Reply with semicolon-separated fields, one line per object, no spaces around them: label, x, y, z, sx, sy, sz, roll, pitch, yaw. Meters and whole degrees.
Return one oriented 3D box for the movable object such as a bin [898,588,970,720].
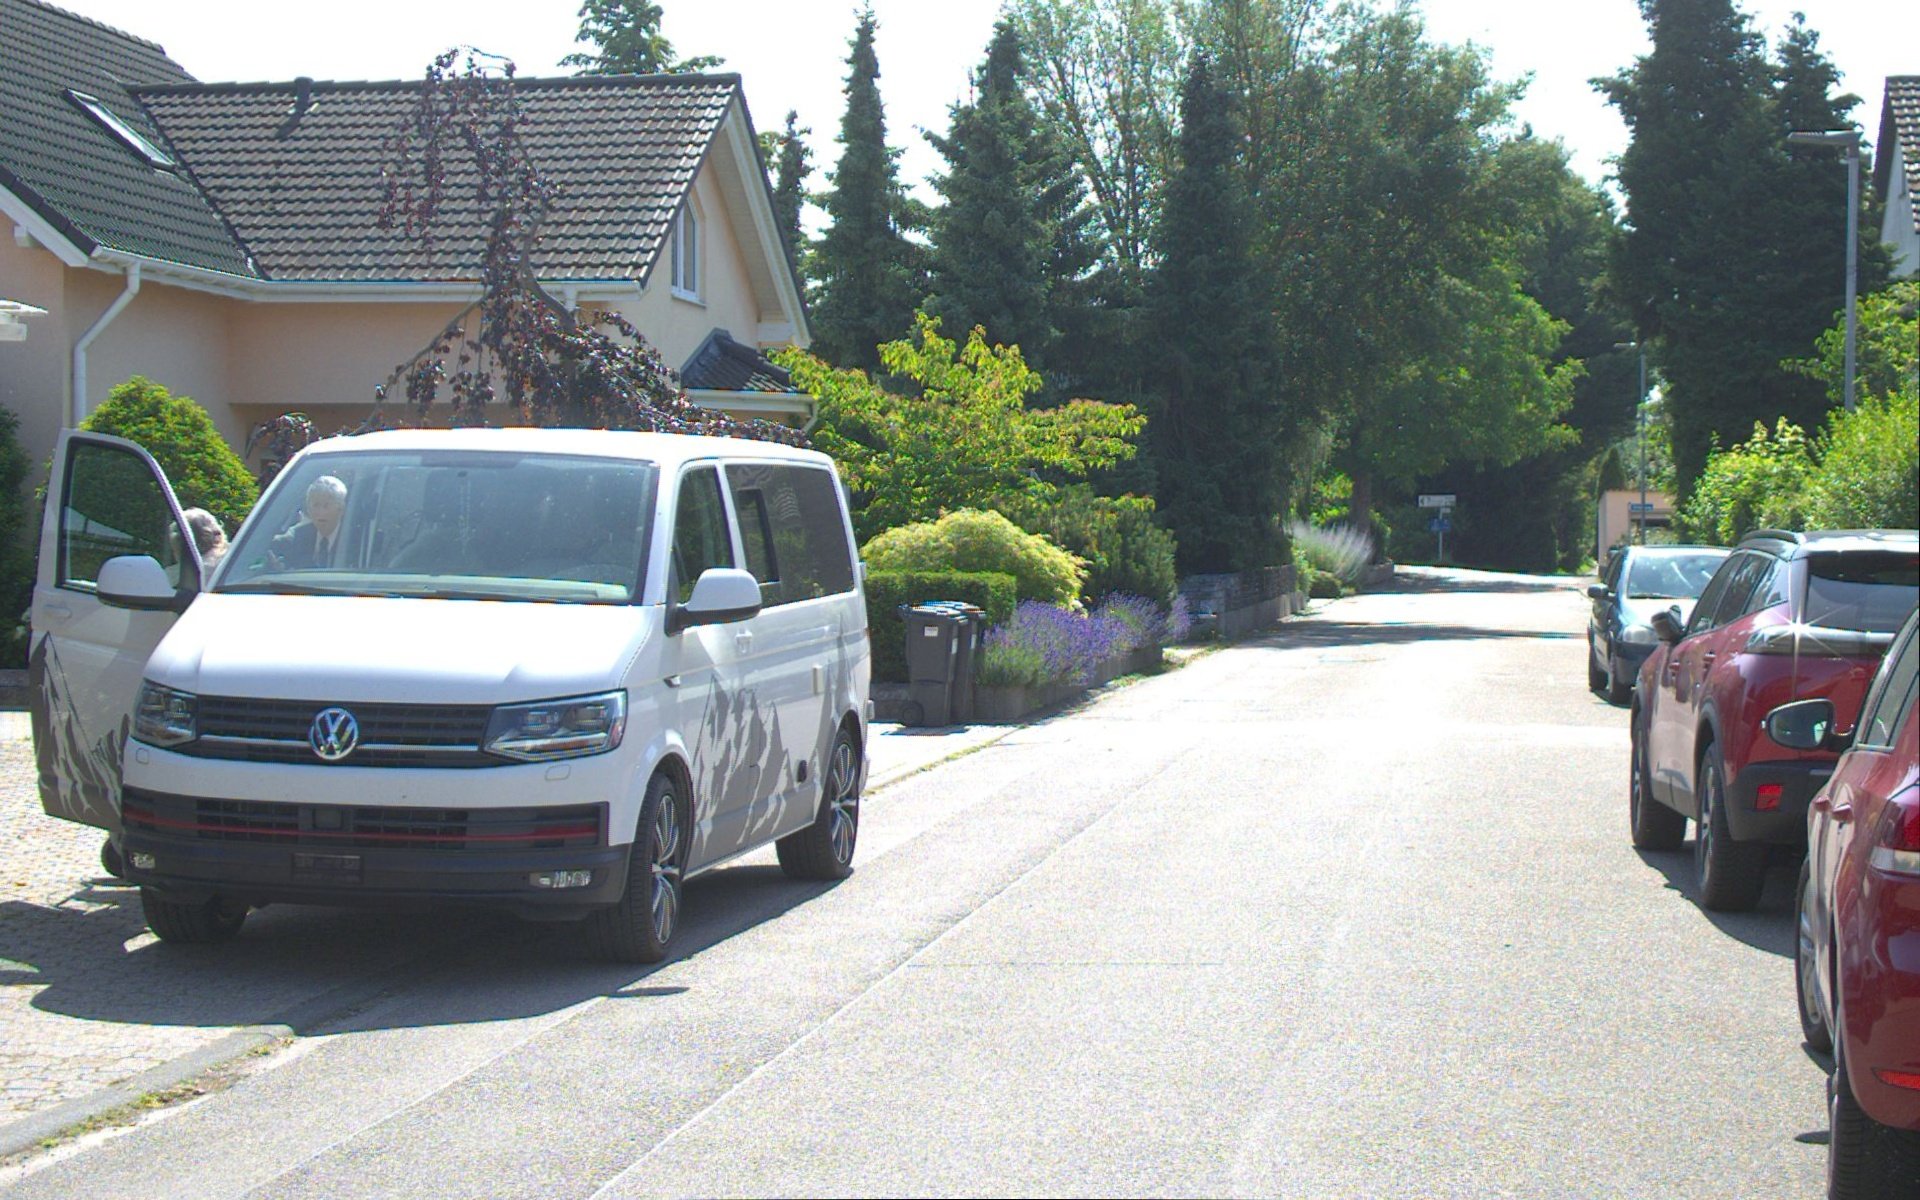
movable object such as a bin;-0.201;0.417;26.879;0.494;1.021;0.447;0;1;9

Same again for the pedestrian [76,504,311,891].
pedestrian;-3.147;0.379;14.117;0.719;1.533;0.640;2;2;42

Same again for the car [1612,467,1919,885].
car;4.005;0.280;15.348;1.823;1.610;3.999;1;1;6

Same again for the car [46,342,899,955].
car;-1.686;0.127;13.832;1.930;2.007;4.894;0;1;11

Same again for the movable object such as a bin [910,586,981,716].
movable object such as a bin;-0.116;0.404;27.337;0.494;1.021;0.447;0;1;9

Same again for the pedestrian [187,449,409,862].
pedestrian;-2.853;0.220;14.827;0.691;1.725;0.640;2;2;40

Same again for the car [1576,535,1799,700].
car;6.652;0.124;31.755;1.703;1.395;3.999;1;1;8

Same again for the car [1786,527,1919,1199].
car;3.072;0.604;8.708;1.776;1.474;3.998;2;1;12
